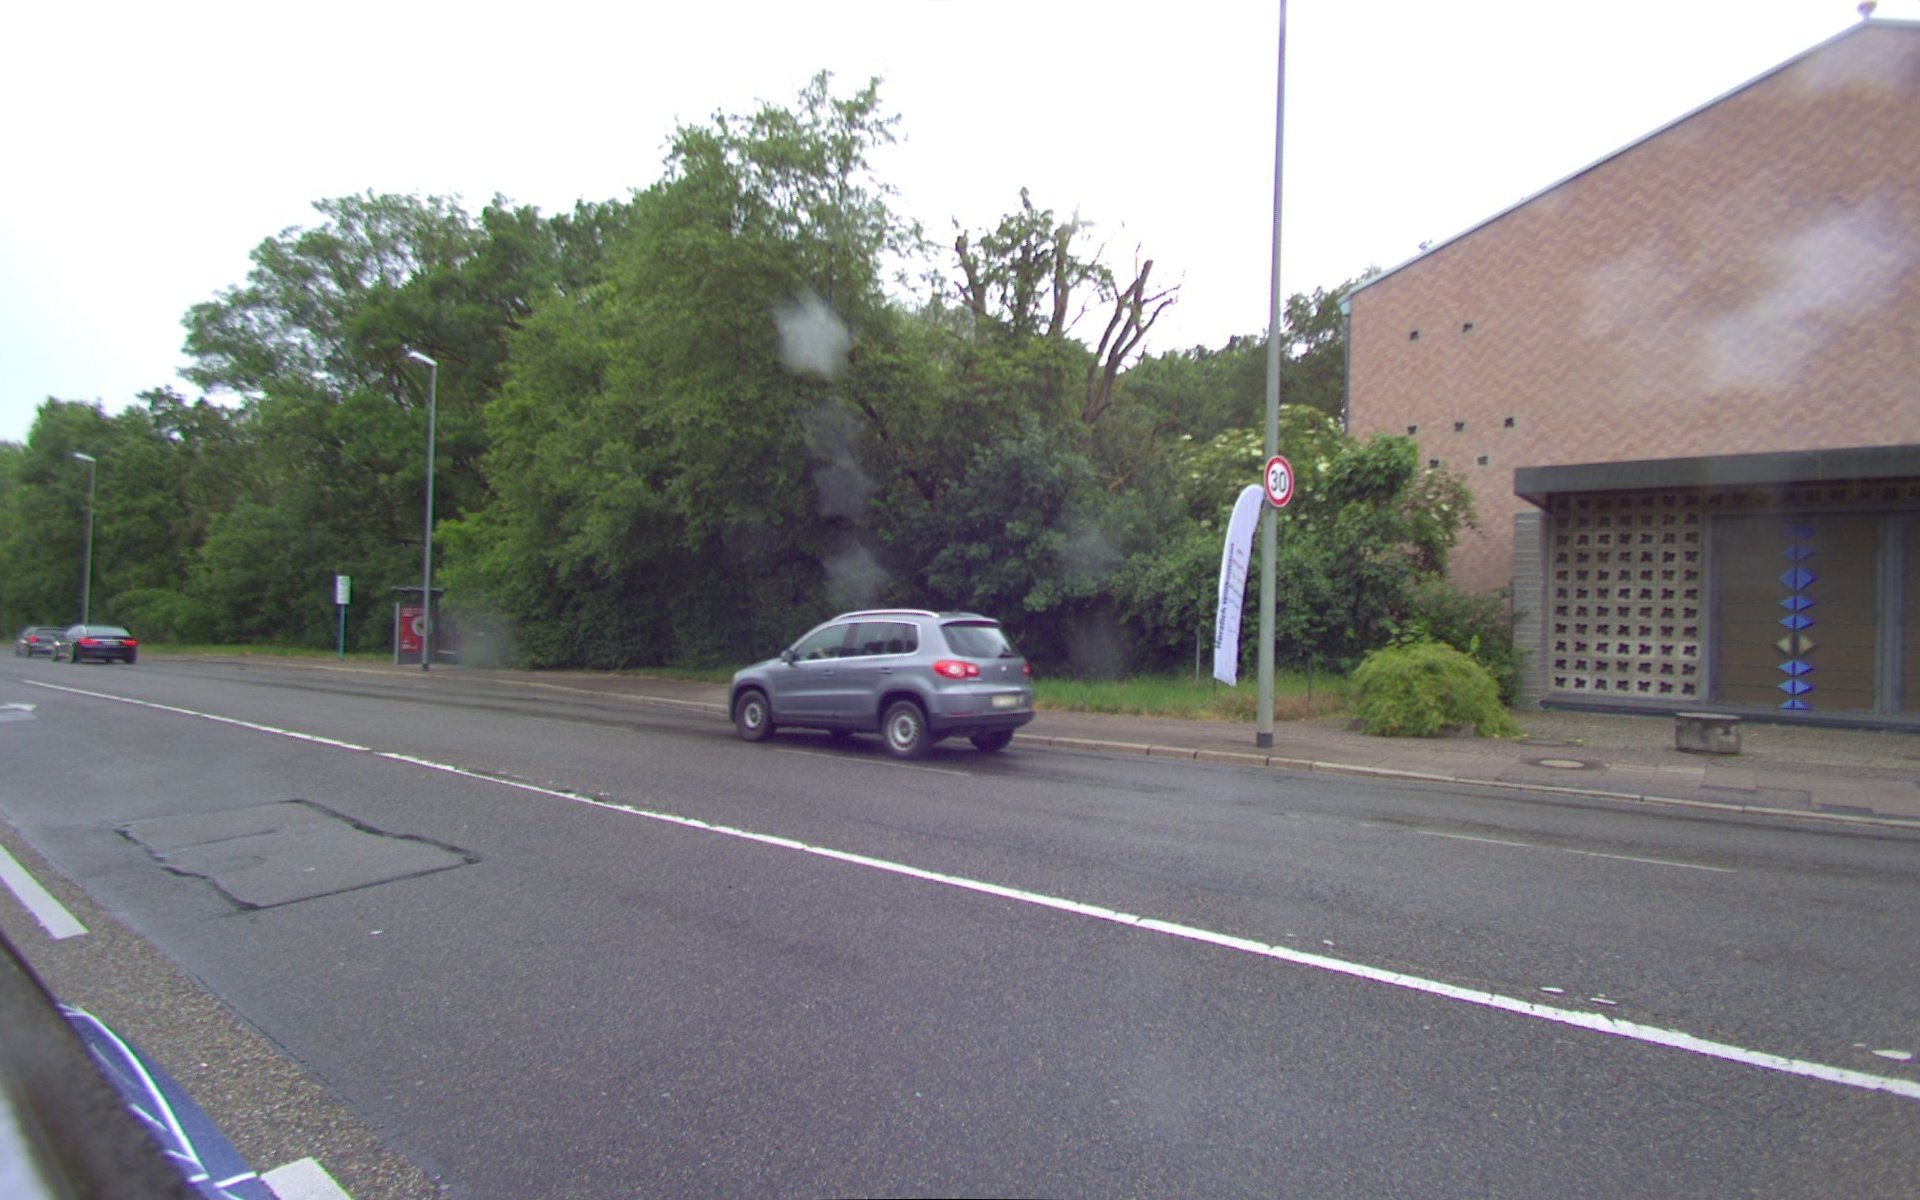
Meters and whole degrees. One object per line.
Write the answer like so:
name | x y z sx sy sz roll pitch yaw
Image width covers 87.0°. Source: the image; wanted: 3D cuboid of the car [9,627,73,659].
car | -42.788 1.981 47.085 3.901 1.440 1.578 -1 -3 39

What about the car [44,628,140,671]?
car | -33.512 1.878 39.043 4.944 1.465 1.891 -1 -5 40

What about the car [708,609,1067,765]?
car | -0.997 0.969 12.538 4.312 1.603 1.890 -1 -3 38
